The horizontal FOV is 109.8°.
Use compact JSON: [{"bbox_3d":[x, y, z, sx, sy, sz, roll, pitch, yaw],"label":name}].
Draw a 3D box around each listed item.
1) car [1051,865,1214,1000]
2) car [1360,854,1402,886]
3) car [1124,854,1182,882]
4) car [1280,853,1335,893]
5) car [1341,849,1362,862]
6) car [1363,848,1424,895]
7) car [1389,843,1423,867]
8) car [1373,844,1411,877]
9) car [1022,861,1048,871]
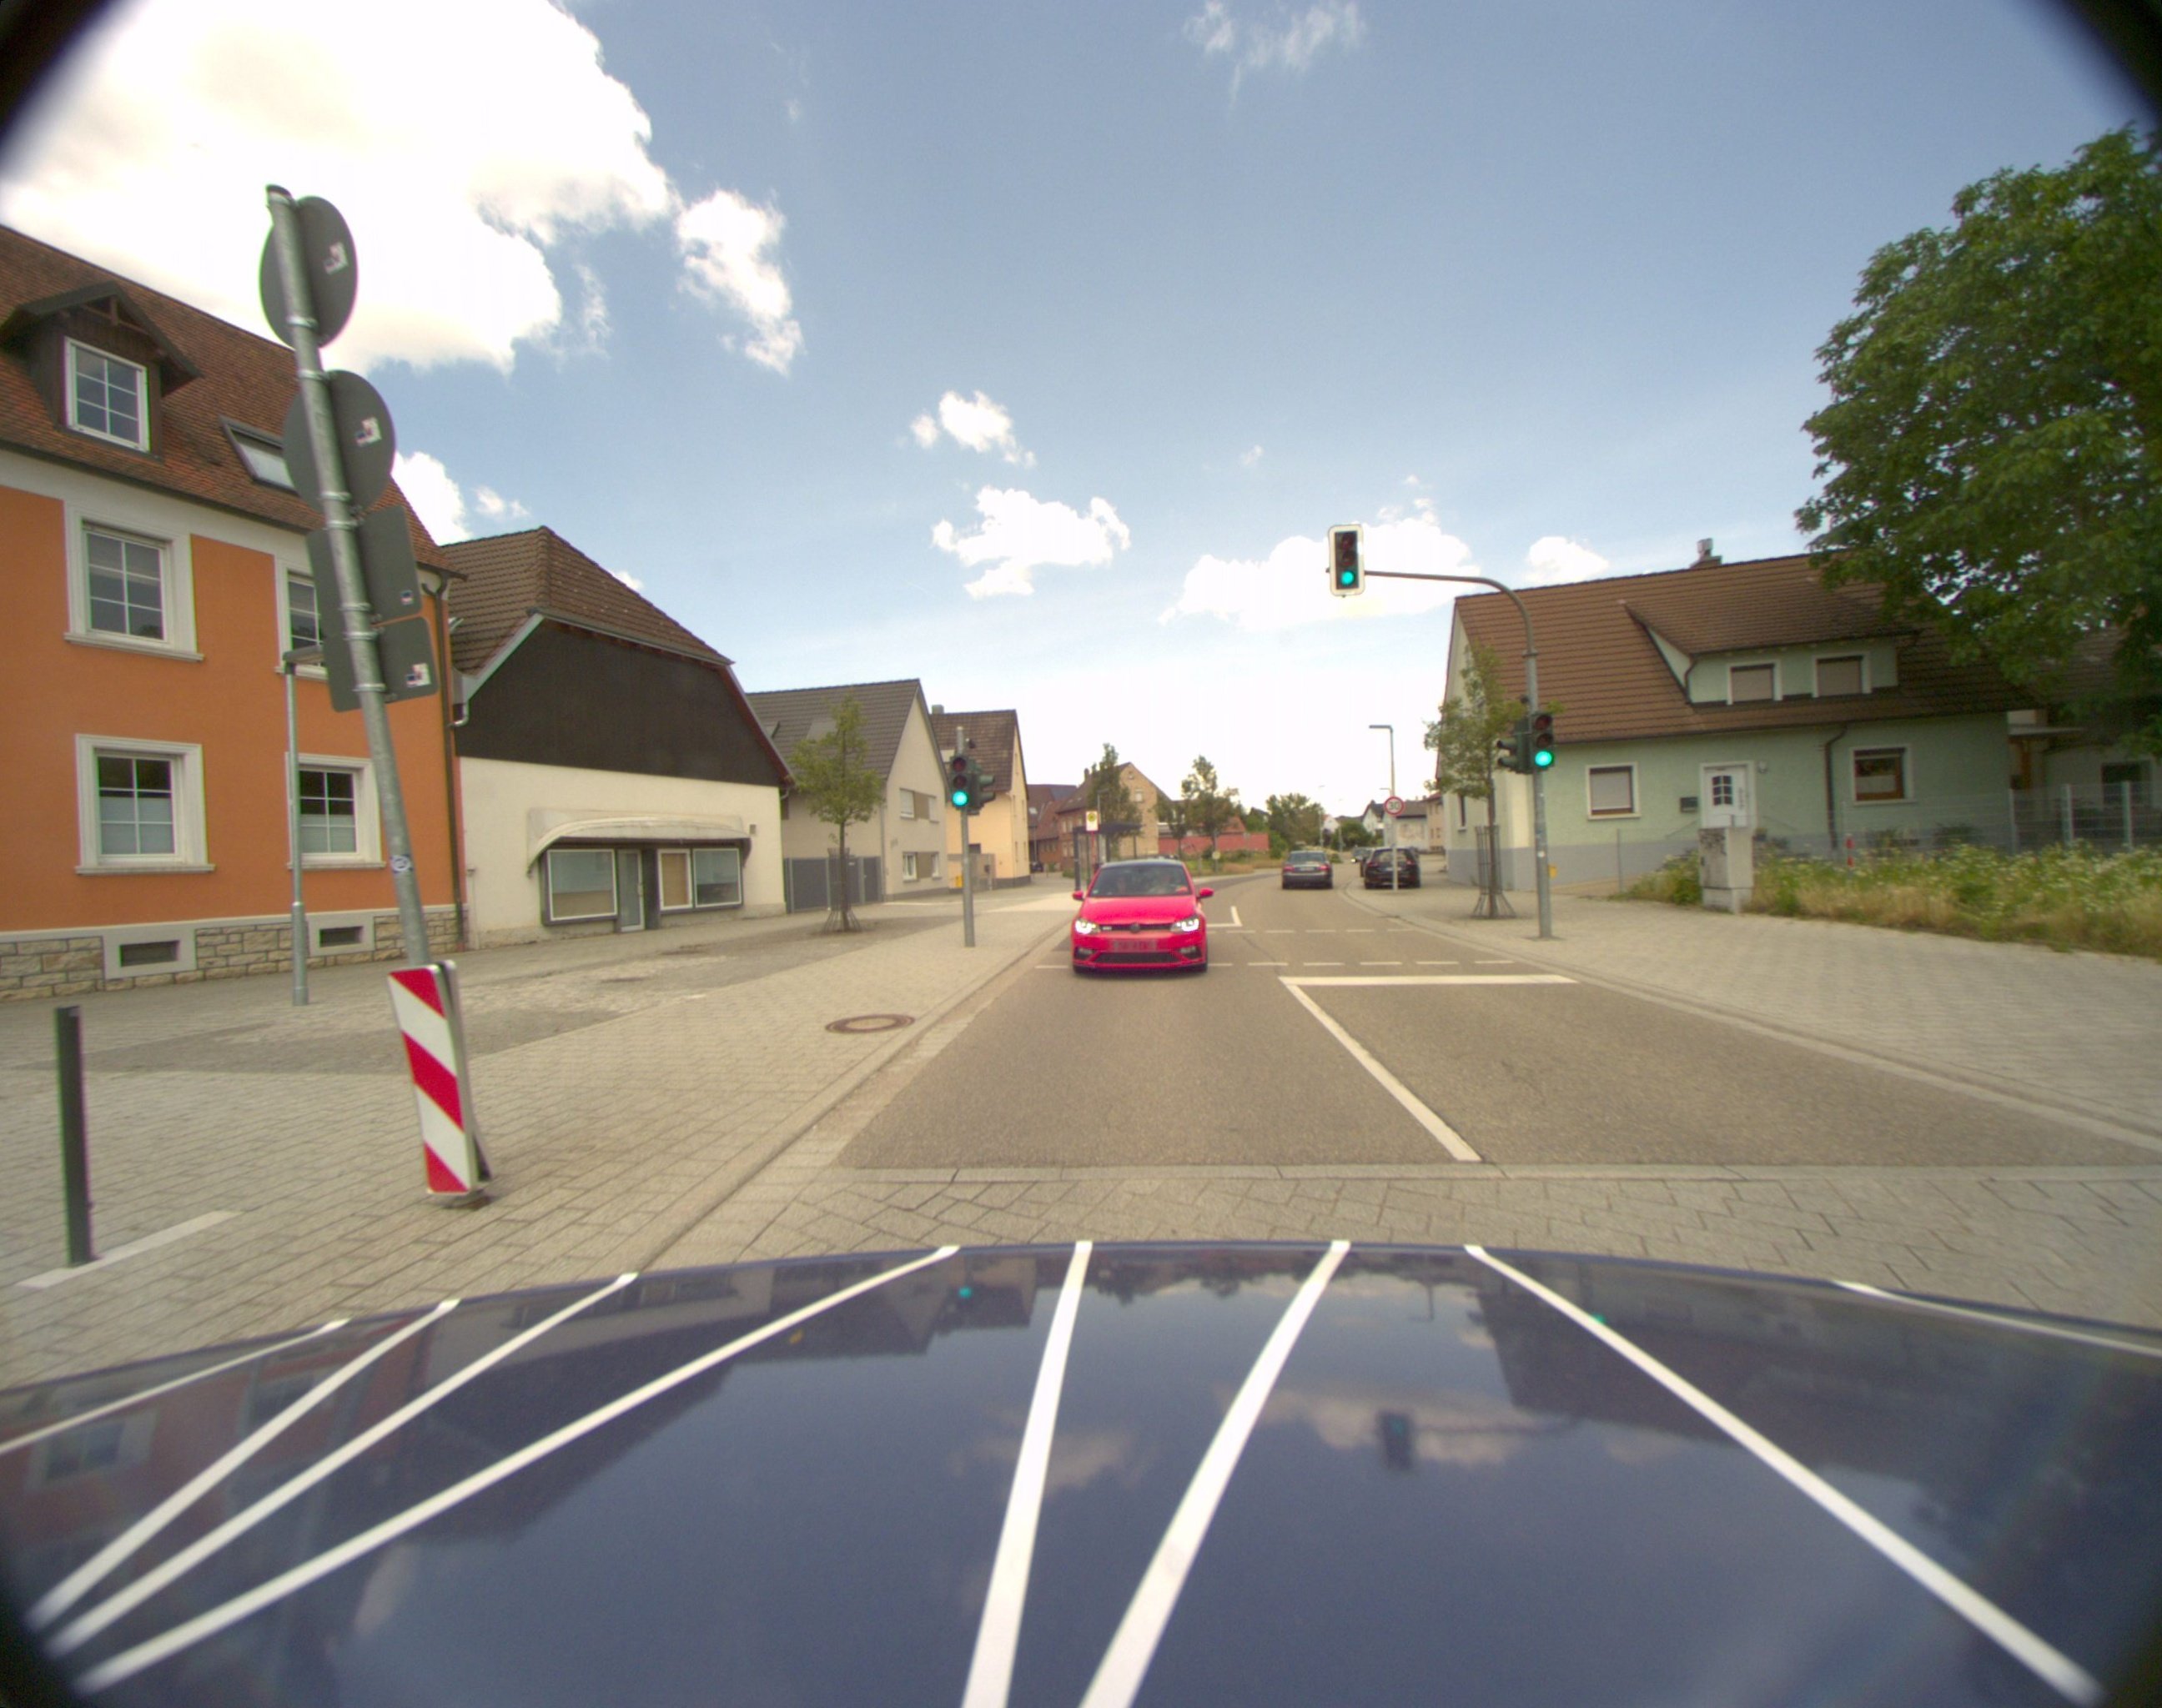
[{"bbox_3d":[0.639,0.917,10.462,1.782,1.403,3.888,-2,0,2],"label":"car"},{"bbox_3d":[13.331,0.684,33.664,1.632,1.259,3.480,-1,0,23],"label":"car"},{"bbox_3d":[4.612,0.865,48.581,3.545,1.583,1.667,-3,0,8],"label":"car"},{"bbox_3d":[8.772,0.702,29.691,1.886,1.426,4.601,-1,0,15],"label":"car"},{"bbox_3d":[28.066,0.138,78.865,1.996,1.182,4.005,-1,0,18],"label":"car"},{"bbox_3d":[11.097,0.564,27.202,1.735,1.482,4.506,-2,0,19],"label":"car"},{"bbox_3d":[23.113,0.023,53.969,1.656,1.565,3.698,-2,0,31],"label":"car"},{"bbox_3d":[15.871,0.315,38.737,1.657,1.553,3.697,-2,0,23],"label":"car"},{"bbox_3d":[-5.707,1.497,94.209,1.806,1.053,3.992,-2,0,-25],"label":"car"}]
